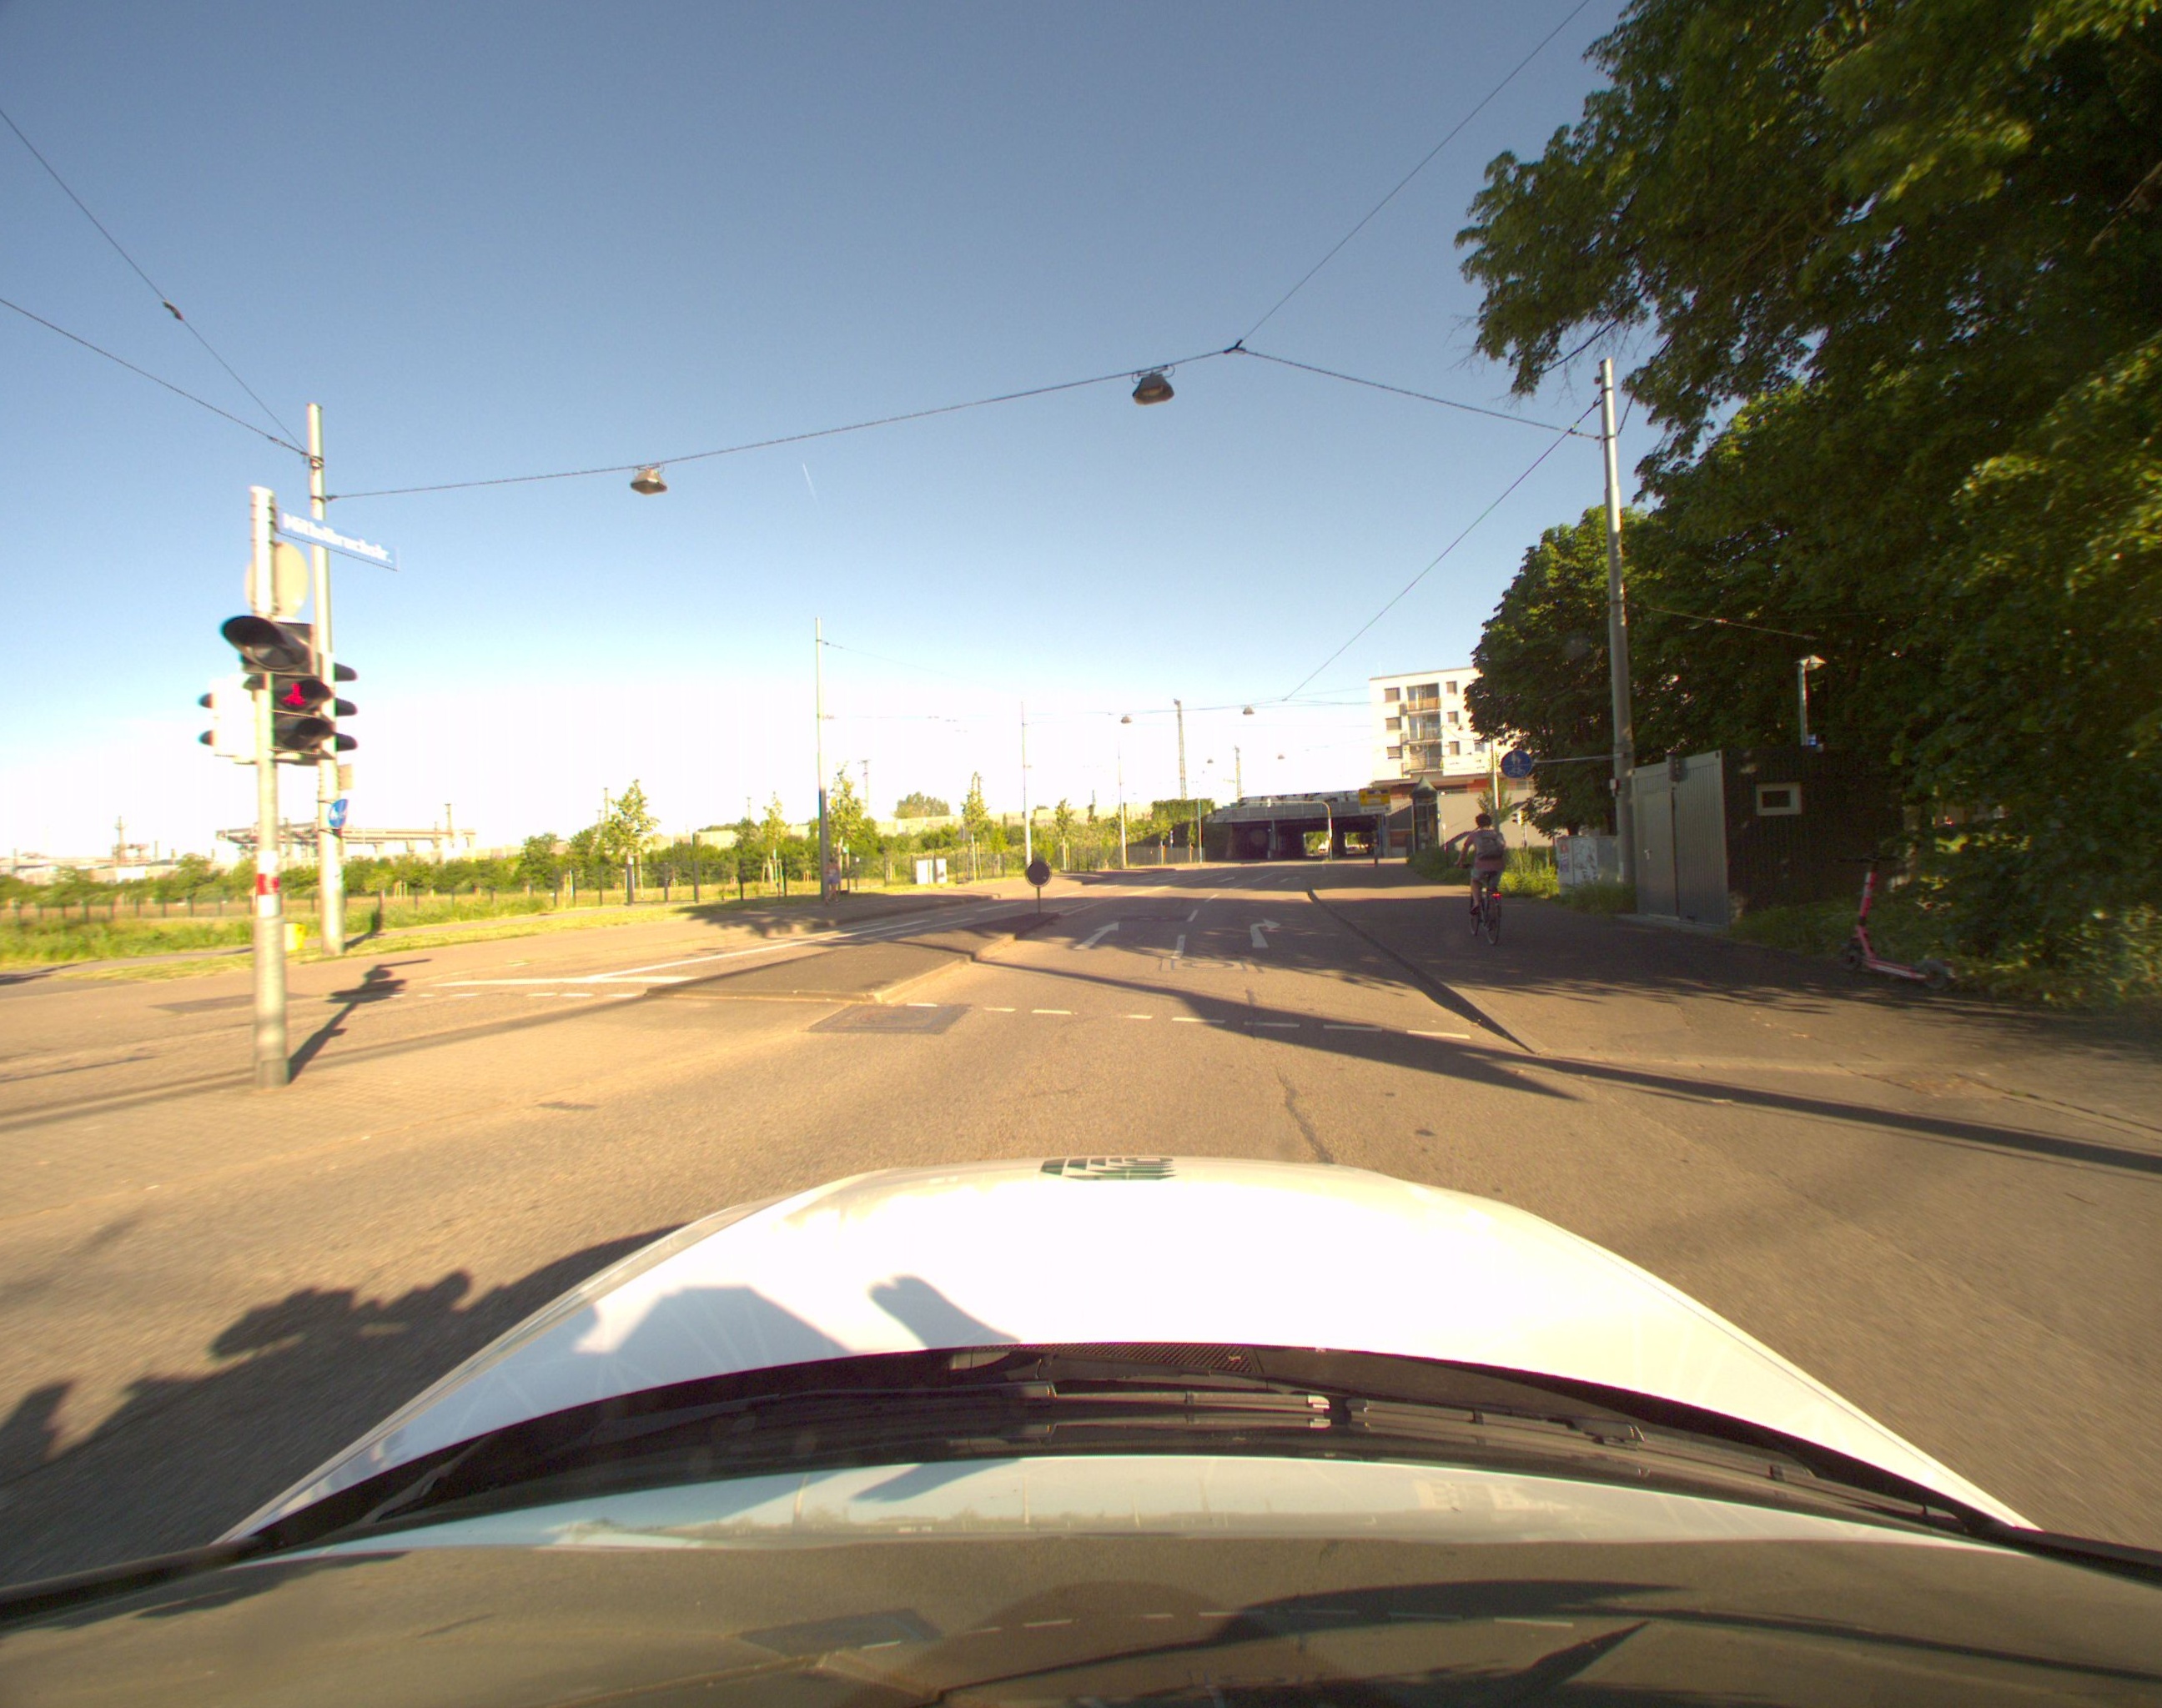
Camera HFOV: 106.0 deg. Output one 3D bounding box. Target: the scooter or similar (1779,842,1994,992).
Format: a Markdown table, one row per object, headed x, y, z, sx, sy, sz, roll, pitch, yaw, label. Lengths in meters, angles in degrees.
| x | y | z | sx | sy | sz | roll | pitch | yaw | label |
| --- | --- | --- | --- | --- | --- | --- | --- | --- | --- |
| 7.649 | 0.527 | 7.855 | 0.382 | 1.218 | 1.837 | -4 | 1 | 7 | scooter or similar |

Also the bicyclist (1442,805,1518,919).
| x | y | z | sx | sy | sz | roll | pitch | yaw | label |
| --- | --- | --- | --- | --- | --- | --- | --- | --- | --- |
| 5.948 | 0.113 | 12.205 | 0.805 | 1.599 | 1.155 | -3 | 0 | 19 | bicyclist |

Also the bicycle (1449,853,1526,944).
| x | y | z | sx | sy | sz | roll | pitch | yaw | label |
| --- | --- | --- | --- | --- | --- | --- | --- | --- | --- |
| 6.067 | 0.620 | 12.249 | 0.713 | 1.192 | 2.011 | -3 | 0 | 19 | bicycle |

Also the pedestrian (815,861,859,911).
| x | y | z | sx | sy | sz | roll | pitch | yaw | label |
| --- | --- | --- | --- | --- | --- | --- | --- | --- | --- |
| -8.384 | 1.077 | 27.978 | 0.825 | 1.629 | 1.187 | -1 | 2 | 22 | pedestrian |
